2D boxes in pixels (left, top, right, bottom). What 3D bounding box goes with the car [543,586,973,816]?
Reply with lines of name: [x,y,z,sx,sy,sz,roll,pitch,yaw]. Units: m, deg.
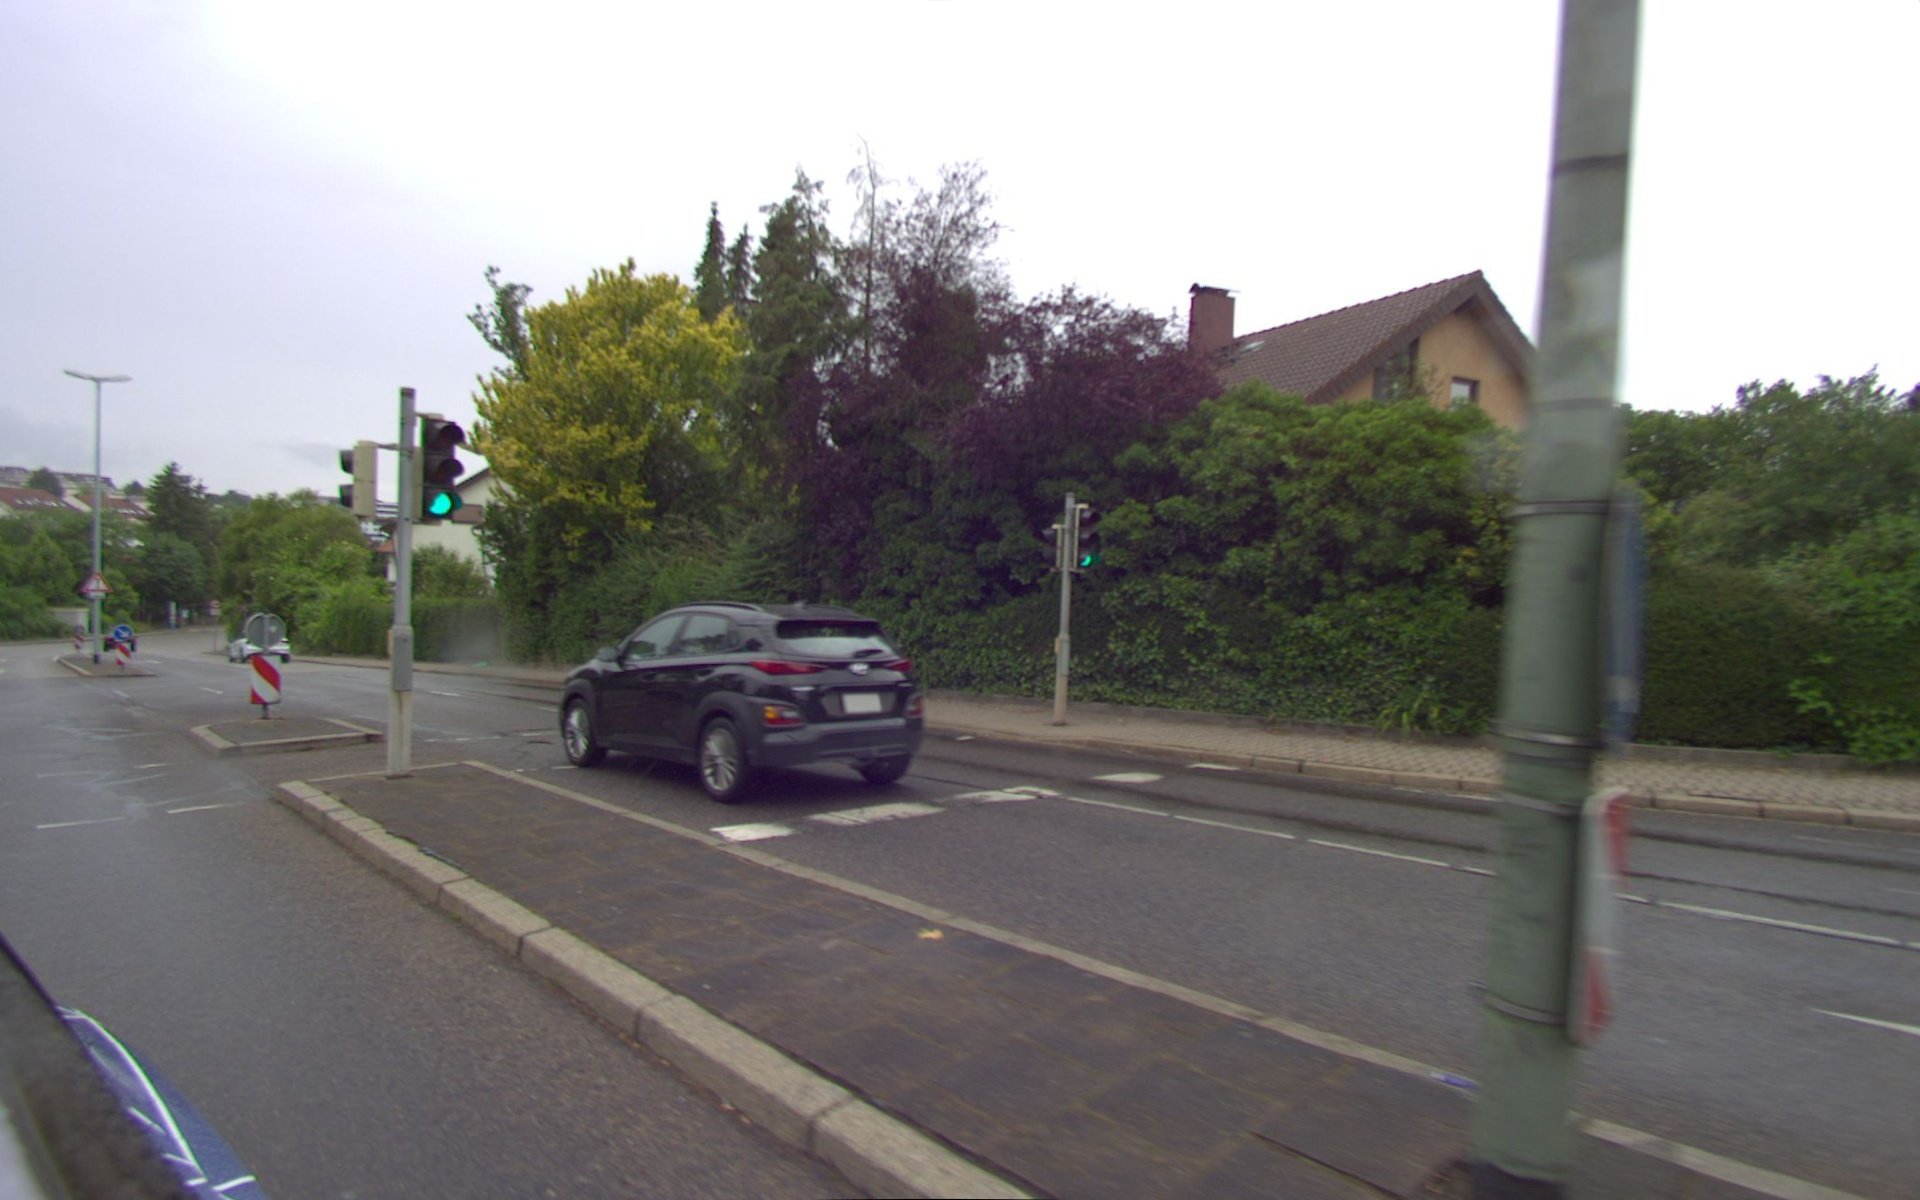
car: [-1.951,0.751,9.057,2.001,1.575,3.880,2,-3,-44]

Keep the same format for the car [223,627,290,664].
car: [-30.356,1.950,43.610,1.707,1.497,4.160,3,-4,-44]

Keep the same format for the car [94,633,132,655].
car: [-58.753,3.027,70.252,1.839,1.504,3.841,1,-3,-38]
